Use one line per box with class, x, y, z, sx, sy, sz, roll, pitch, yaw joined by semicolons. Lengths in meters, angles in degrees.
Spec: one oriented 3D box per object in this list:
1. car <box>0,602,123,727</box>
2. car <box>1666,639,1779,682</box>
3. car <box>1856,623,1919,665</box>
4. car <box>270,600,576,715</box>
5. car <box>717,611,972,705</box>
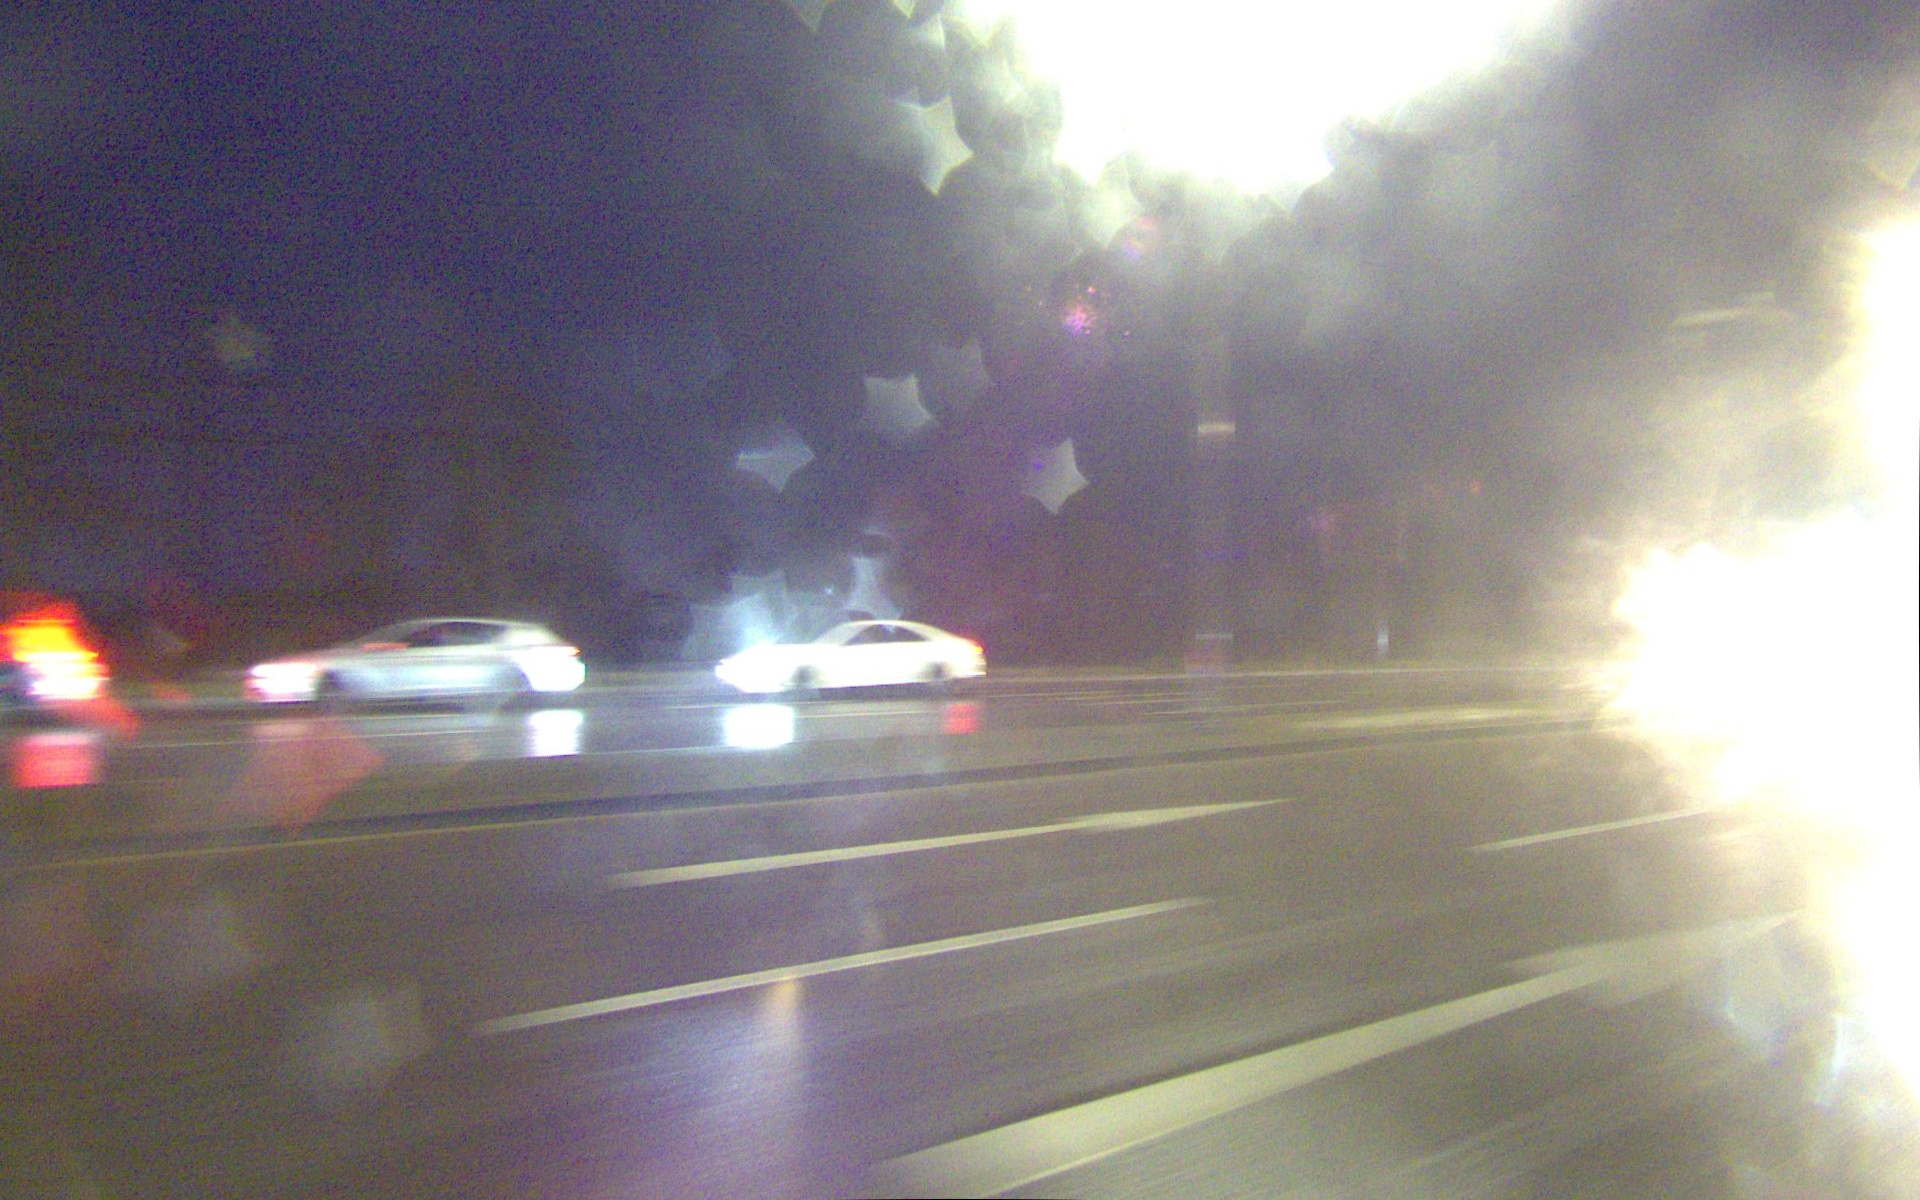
car;-13.603;0.791;12.560;4.481;1.558;1.843;3;-5;-31
car;23.877;1.865;31.434;3.574;1.219;1.635;1;-1;-32
car;44.786;2.091;47.988;4.156;1.917;1.754;1;-1;-31
car;-8.376;0.848;15.932;4.097;1.623;1.486;1;0;-30
car;-2.129;1.018;18.825;4.381;1.551;1.874;1;0;-31
